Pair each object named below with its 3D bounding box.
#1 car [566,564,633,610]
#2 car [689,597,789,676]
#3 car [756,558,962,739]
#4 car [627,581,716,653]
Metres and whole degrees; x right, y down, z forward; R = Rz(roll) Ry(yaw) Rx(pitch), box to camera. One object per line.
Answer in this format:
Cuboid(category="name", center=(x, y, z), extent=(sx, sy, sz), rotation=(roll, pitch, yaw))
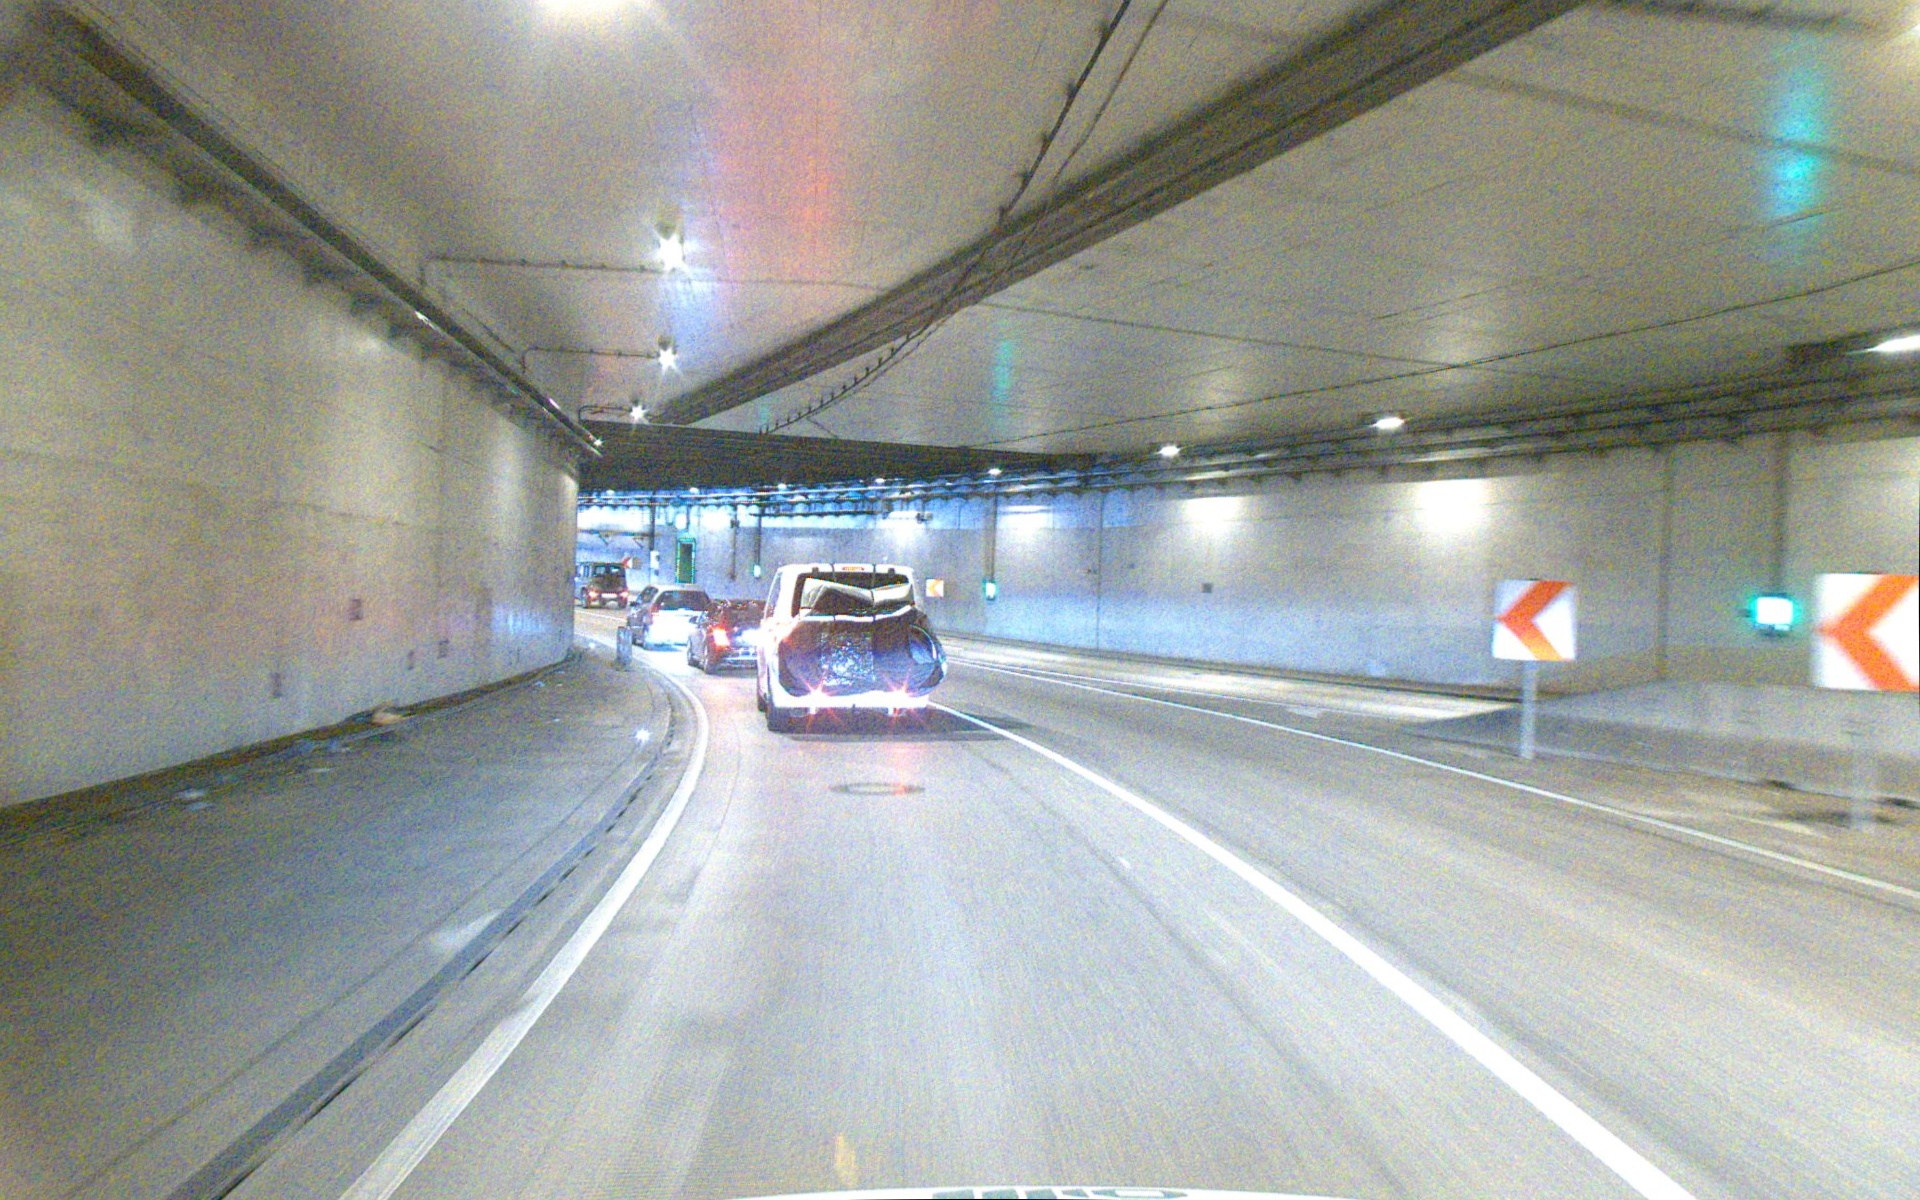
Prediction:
Cuboid(category="car", center=(-13.527, -0.505, 61.997), extent=(1.585, 1.658, 3.324), rotation=(0, 1, -29))
Cuboid(category="car", center=(-4.327, 0.672, 32.029), extent=(1.575, 1.420, 3.266), rotation=(1, 0, -14))
Cuboid(category="car", center=(-1.373, 0.501, 19.924), extent=(1.957, 1.880, 5.289), rotation=(0, 0, -9))
Cuboid(category="car", center=(-7.117, 0.405, 40.628), extent=(1.579, 1.622, 3.337), rotation=(3, -1, -19))
